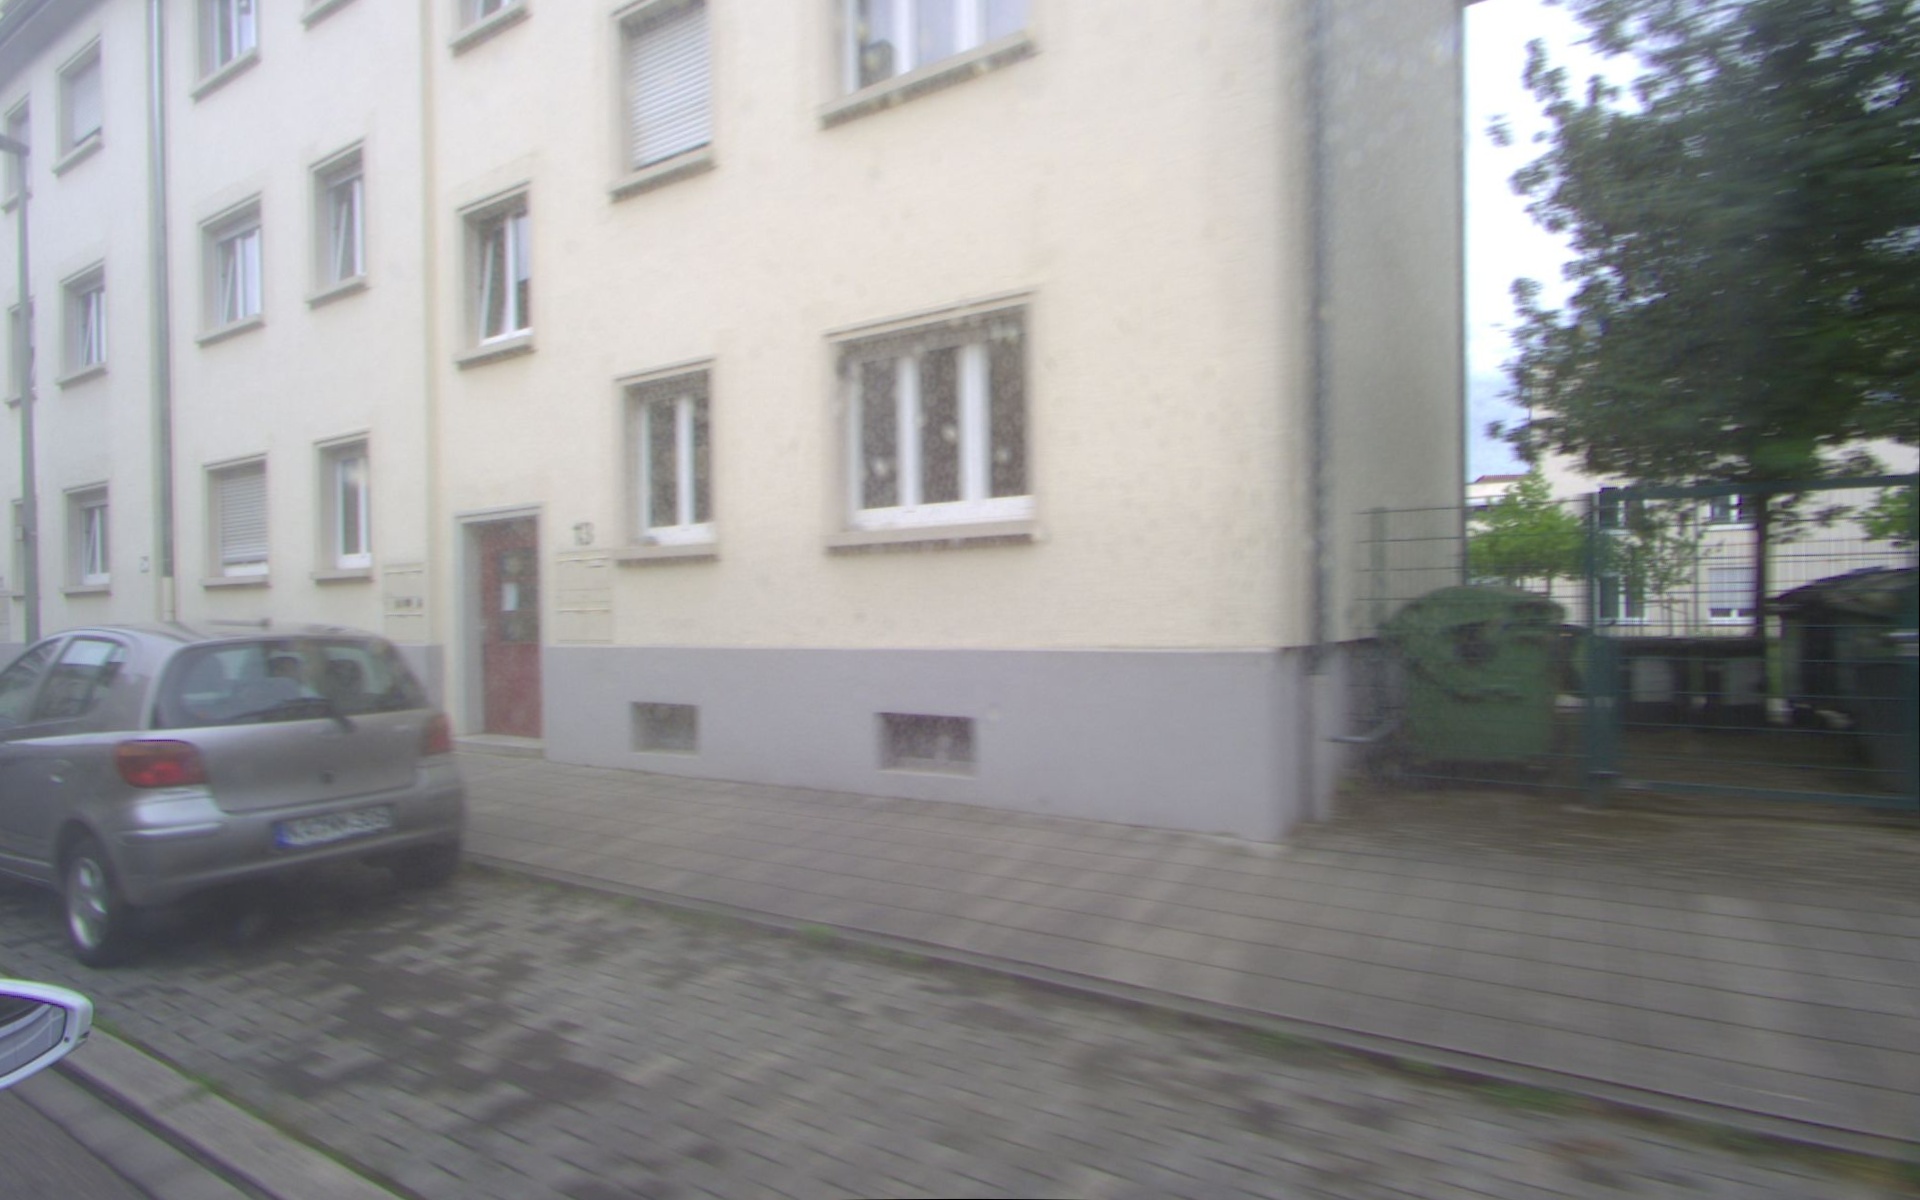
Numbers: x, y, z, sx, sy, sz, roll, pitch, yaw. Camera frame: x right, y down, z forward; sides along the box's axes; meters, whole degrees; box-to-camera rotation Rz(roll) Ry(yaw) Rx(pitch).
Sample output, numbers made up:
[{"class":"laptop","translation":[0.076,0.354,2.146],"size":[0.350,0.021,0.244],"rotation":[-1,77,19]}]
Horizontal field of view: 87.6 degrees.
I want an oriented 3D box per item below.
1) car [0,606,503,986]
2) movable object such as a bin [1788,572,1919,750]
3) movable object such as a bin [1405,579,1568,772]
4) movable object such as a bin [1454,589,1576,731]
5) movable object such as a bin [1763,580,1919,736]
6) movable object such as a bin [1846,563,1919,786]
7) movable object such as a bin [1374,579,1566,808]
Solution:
[{"class":"car","translation":[-4.677,0.831,5.836],"size":[4.001,1.537,1.722],"rotation":[-1,-1,31]},{"class":"movable object such as a bin","translation":[8.097,0.511,8.783],"size":[1.133,1.462,1.159],"rotation":[-1,0,32]},{"class":"movable object such as a bin","translation":[4.430,0.584,8.391],"size":[1.133,1.462,1.159],"rotation":[-1,0,32]},{"class":"movable object such as a bin","translation":[6.200,0.634,11.165],"size":[1.133,1.462,1.159],"rotation":[-1,0,32]},{"class":"movable object such as a bin","translation":[8.928,0.554,10.119],"size":[1.133,1.462,1.159],"rotation":[-1,0,32]},{"class":"movable object such as a bin","translation":[6.924,0.487,6.822],"size":[1.133,1.462,1.159],"rotation":[-1,0,32]},{"class":"movable object such as a bin","translation":[3.670,0.609,7.177],"size":[1.133,1.462,1.159],"rotation":[-1,0,32]}]
